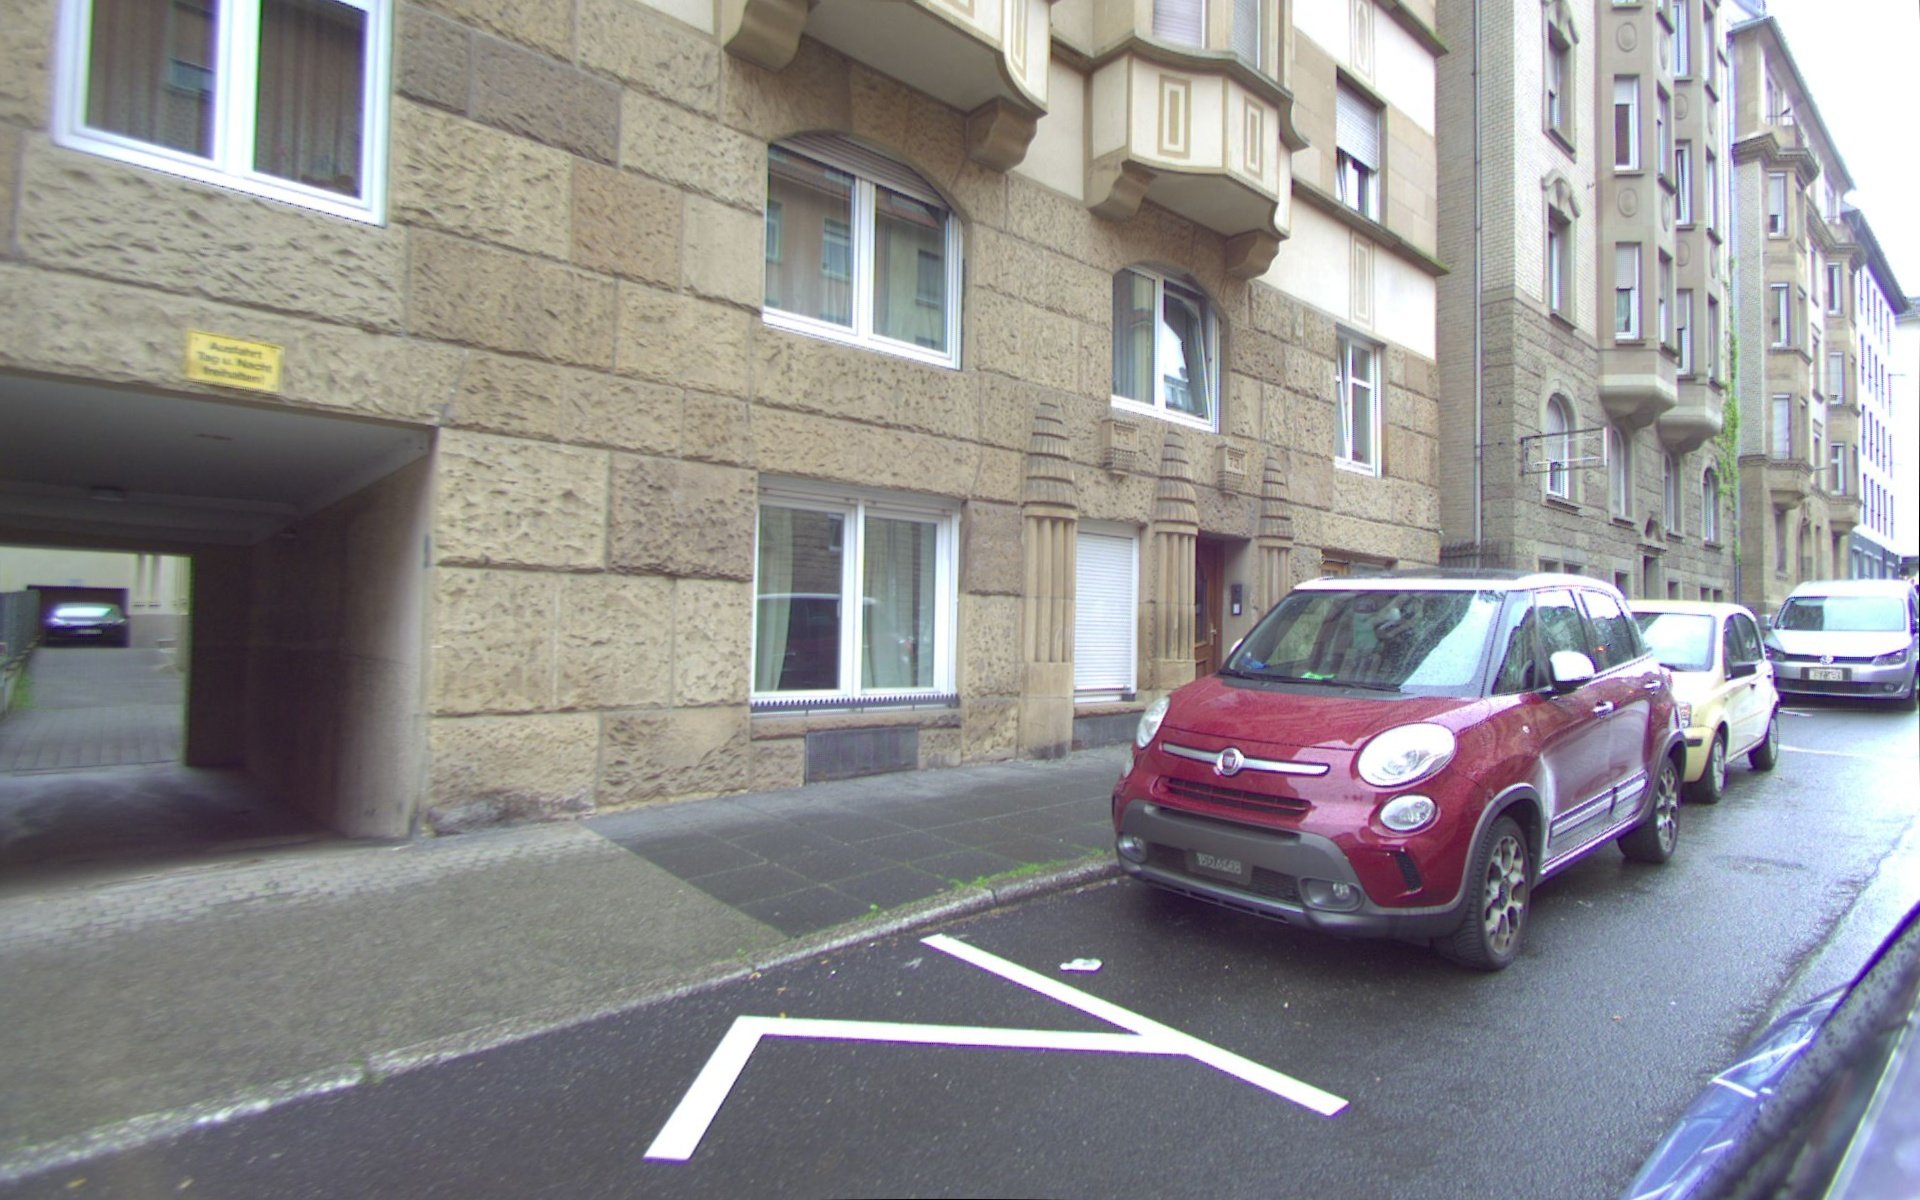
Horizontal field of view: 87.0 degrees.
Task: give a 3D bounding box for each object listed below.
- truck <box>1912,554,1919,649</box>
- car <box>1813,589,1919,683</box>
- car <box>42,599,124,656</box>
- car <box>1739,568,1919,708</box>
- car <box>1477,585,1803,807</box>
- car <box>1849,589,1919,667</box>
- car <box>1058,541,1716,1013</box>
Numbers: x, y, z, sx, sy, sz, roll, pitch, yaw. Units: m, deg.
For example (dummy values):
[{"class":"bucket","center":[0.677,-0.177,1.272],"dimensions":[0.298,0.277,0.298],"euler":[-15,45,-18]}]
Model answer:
[{"class":"truck","center":[29.002,0.022,28.732],"dimensions":[6.036,2.568,2.233],"euler":[0,-1,-41]},{"class":"car","center":[17.012,0.599,18.353],"dimensions":[3.934,1.549,1.994],"euler":[0,-1,-45]},{"class":"car","center":[-25.346,0.757,29.305],"dimensions":[1.692,1.541,4.098],"euler":[0,-1,-41]},{"class":"car","center":[13.604,0.499,15.361],"dimensions":[4.380,1.825,1.966],"euler":[0,-1,-41]},{"class":"car","center":[6.041,0.674,8.843],"dimensions":[3.517,1.549,1.578],"euler":[0,-1,-43]},{"class":"car","center":[20.317,0.546,21.293],"dimensions":[3.860,1.549,1.889],"euler":[0,-1,-41]},{"class":"car","center":[2.520,0.610,5.481],"dimensions":[3.932,1.619,1.804],"euler":[0,-1,-42]}]
